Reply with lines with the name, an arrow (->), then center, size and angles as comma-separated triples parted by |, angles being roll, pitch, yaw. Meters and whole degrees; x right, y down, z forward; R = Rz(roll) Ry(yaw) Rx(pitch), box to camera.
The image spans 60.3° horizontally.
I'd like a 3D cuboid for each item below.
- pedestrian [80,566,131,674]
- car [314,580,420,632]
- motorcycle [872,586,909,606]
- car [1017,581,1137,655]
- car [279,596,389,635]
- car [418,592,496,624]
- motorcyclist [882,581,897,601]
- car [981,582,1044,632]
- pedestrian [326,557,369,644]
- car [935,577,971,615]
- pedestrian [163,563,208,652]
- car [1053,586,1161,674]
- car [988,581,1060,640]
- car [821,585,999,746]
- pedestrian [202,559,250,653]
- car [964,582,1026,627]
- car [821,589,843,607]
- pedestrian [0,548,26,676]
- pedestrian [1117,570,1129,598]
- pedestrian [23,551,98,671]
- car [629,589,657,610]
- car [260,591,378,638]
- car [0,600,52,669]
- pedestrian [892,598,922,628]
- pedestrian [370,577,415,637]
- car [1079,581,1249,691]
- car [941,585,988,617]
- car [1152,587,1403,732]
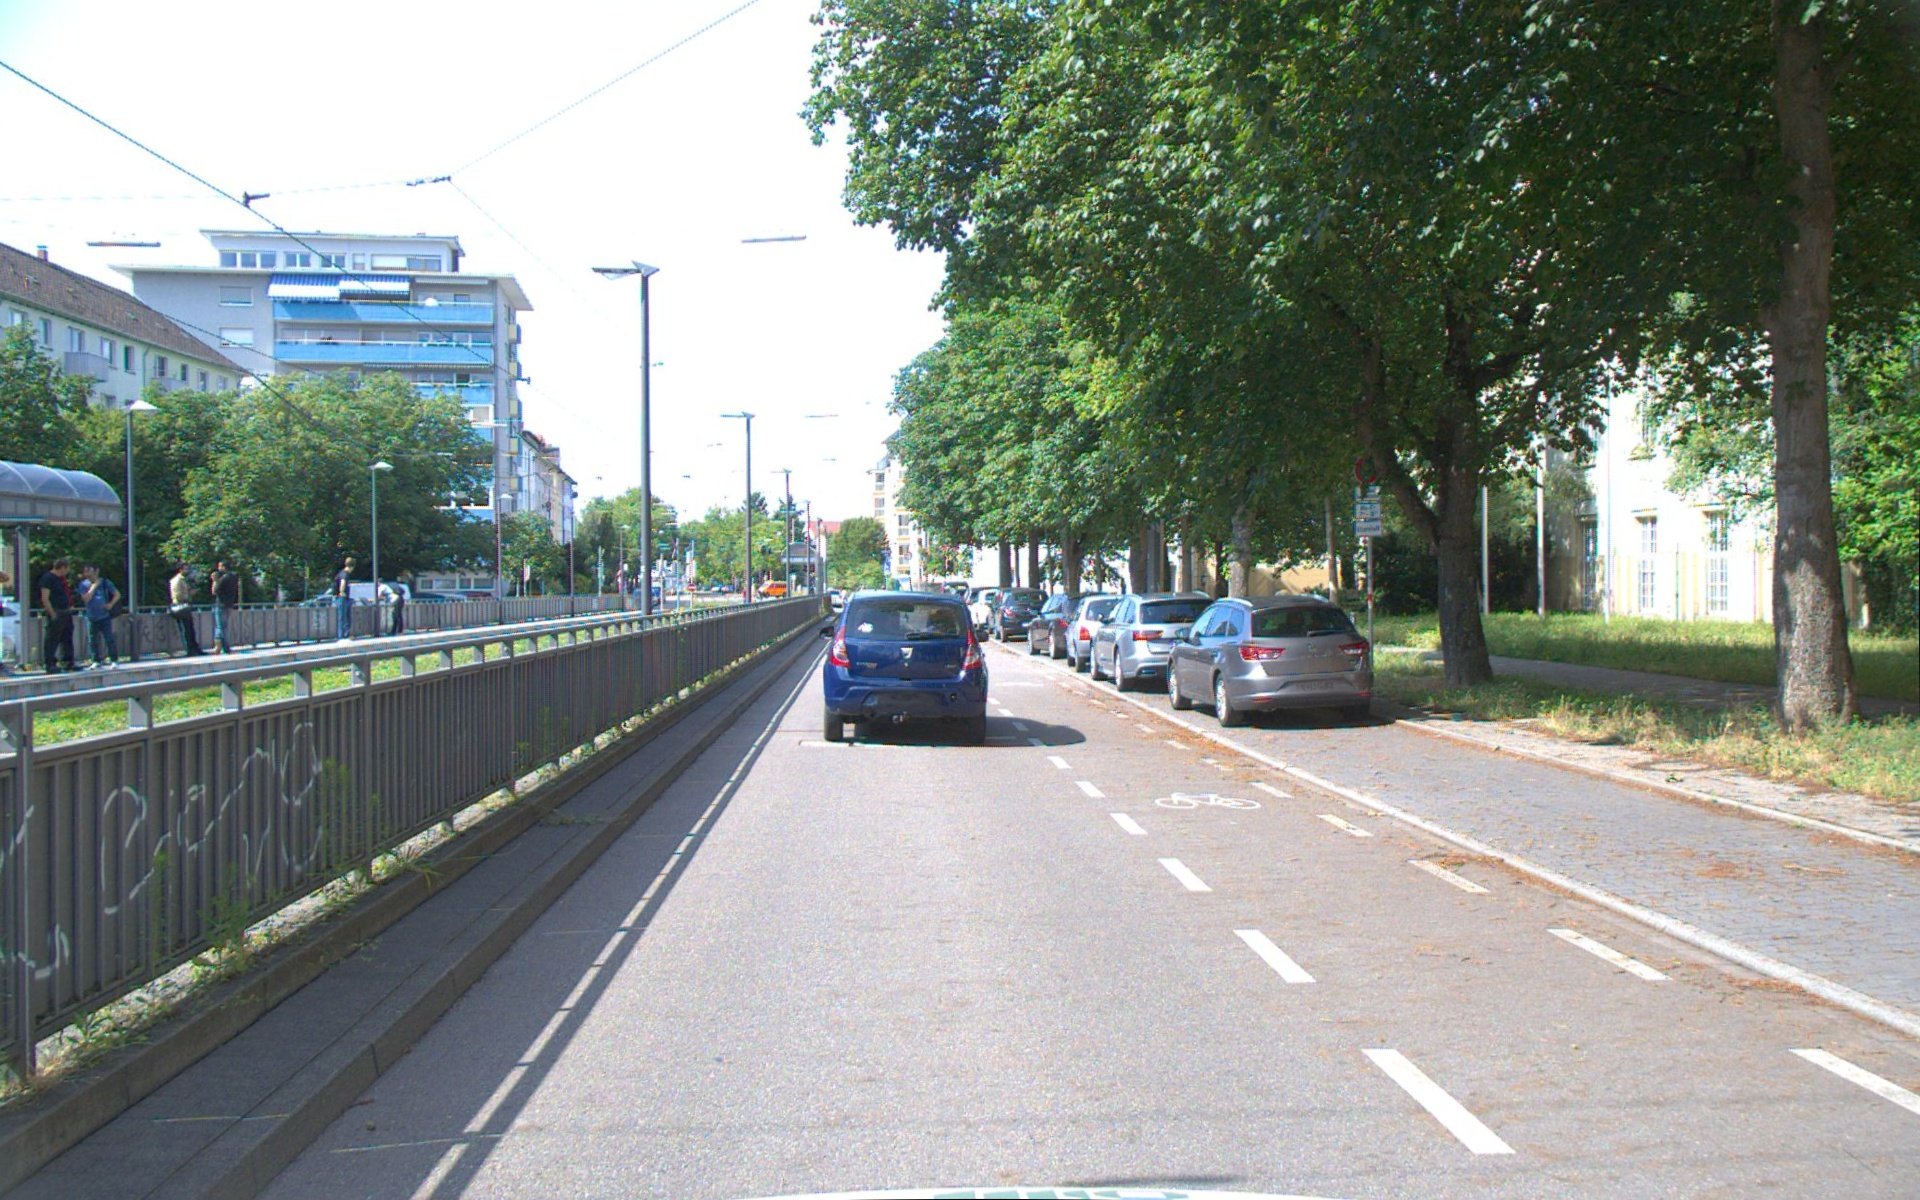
pedestrian -> -13.342, 0.305, 25.827 | 0.587, 1.661, 0.556 | -1, 1, -18
car -> -25.312, 0.243, 70.638 | 3.906, 2.106, 2.025 | -1, 1, -35
motorcycle -> -4.847, -0.298, 115.026 | 2.460, 1.362, 1.017 | -1, 0, -6
car -> 2.602, 0.413, 37.882 | 1.796, 1.492, 4.824 | -3, 0, -7
car -> -25.565, 0.615, 67.602 | 3.957, 1.511, 1.588 | -1, 1, -37
car -> -26.534, 0.407, 87.275 | 3.623, 1.606, 1.629 | -1, 1, -35
motorcyclist -> -4.893, -0.637, 115.034 | 0.964, 1.362, 0.940 | -1, 0, -5
car -> 1.715, 0.233, 54.642 | 1.526, 1.486, 3.554 | -4, 0, -6
pedestrian -> -13.780, 0.021, 37.223 | 0.735, 1.925, 0.638 | 0, -2, -1
car -> -0.395, -0.252, 88.664 | 1.786, 1.929, 4.182 | -2, 1, -2
pedestrian -> -14.944, 0.145, 31.921 | 0.594, 1.703, 0.624 | -1, 0, -3
car -> 2.770, 0.522, 31.941 | 1.603, 1.456, 4.014 | -3, 1, -1
car -> 1.861, 0.274, 49.448 | 1.657, 1.588, 4.305 | -4, 1, -3
car -> -0.615, 0.622, 18.083 | 1.709, 1.533, 3.997 | 1, 0, -4
pedestrian -> -14.106, 0.116, 31.787 | 0.597, 1.785, 0.622 | -1, -1, 37
car -> 1.308, 0.150, 63.367 | 1.800, 1.550, 4.248 | -3, 1, -6
car -> -10.690, -0.168, 137.967 | 1.591, 1.490, 3.504 | 1, 0, -8
pedestrian -> -14.083, 0.176, 24.256 | 0.434, 1.859, 0.623 | -1, 0, -6
pedestrian -> 9.554, -0.937, 96.885 | 0.619, 1.624, 0.539 | -1, 0, -6
pedestrian -> -13.666, 0.166, 25.160 | 0.620, 1.773, 1.035 | -1, 0, -6
car -> -26.207, -0.047, 136.723 | 1.956, 1.674, 3.994 | 1, 0, -7
car -> -25.139, 0.540, 64.930 | 3.964, 1.668, 1.801 | -1, 2, -41
car -> -23.788, 0.849, 38.711 | 4.122, 1.592, 1.895 | -1, 0, -44
pedestrian -> -3.698, 0.918, 115.336 | 1.954, 2.049, 3.997 | 1, 0, -3
pedestrian -> -15.597, 0.199, 45.474 | 0.969, 1.606, 0.798 | -1, 0, -6
car -> 3.172, 0.496, 26.749 | 1.793, 1.466, 5.046 | -4, 1, -3
car -> 0.194, 0.033, 83.337 | 1.880, 1.467, 4.792 | -3, 1, -4
car -> 3.740, 0.626, 20.348 | 1.793, 1.424, 4.653 | -4, 1, -5
